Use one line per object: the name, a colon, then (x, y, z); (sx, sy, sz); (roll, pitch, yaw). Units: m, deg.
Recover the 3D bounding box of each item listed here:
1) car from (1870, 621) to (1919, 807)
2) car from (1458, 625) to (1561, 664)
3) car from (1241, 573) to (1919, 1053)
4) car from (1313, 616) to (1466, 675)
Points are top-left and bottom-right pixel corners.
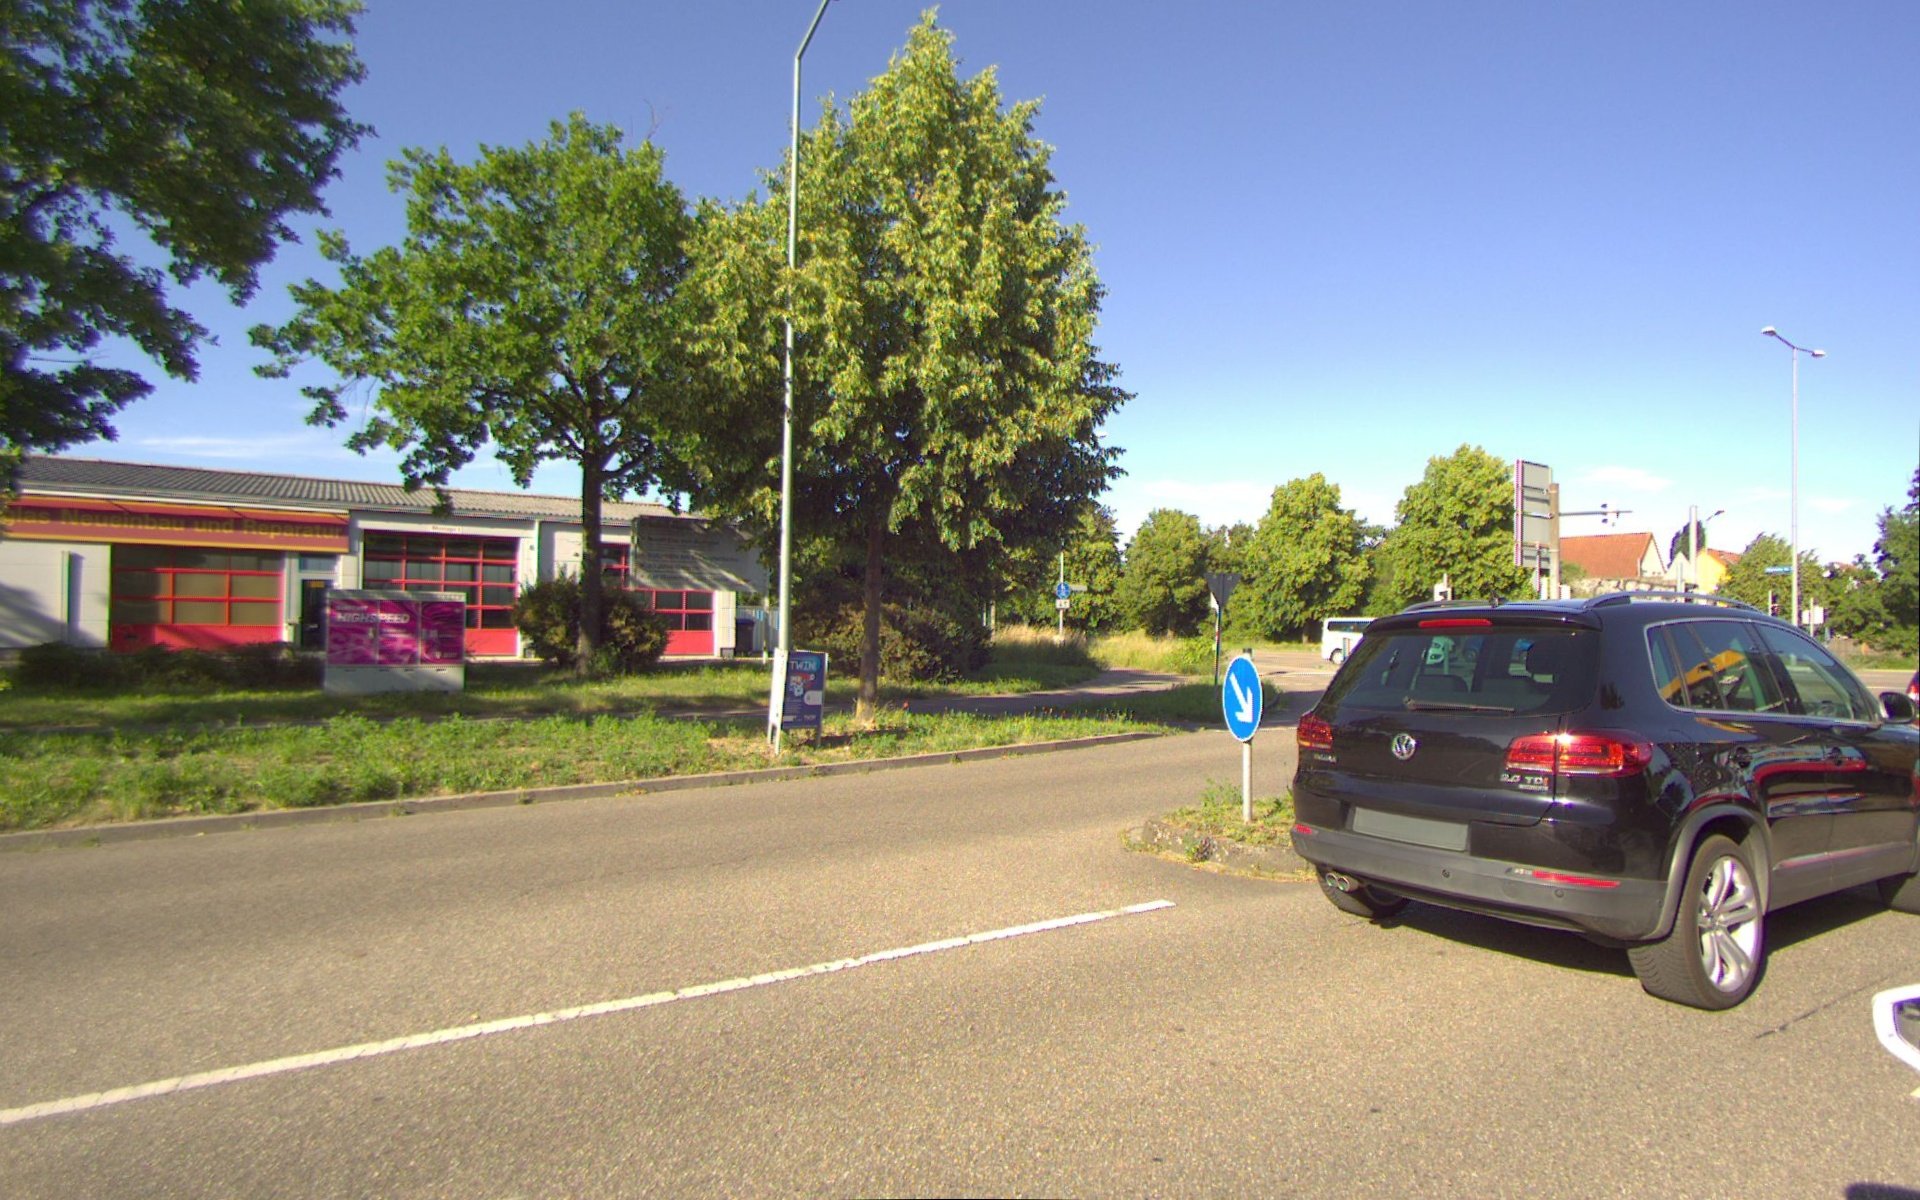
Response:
car: (10.313, 1.007, 9.264); (3.954, 1.610, 1.753); (1, -3, -31)
car: (23.760, 1.901, 43.499); (1.733, 1.581, 3.559); (2, -2, -35)
car: (3.558, 0.821, 5.316); (3.954, 1.675, 1.763); (1, -3, -31)
car: (17.244, 1.792, 40.604); (2.160, 2.146, 5.350); (2, -1, -35)
